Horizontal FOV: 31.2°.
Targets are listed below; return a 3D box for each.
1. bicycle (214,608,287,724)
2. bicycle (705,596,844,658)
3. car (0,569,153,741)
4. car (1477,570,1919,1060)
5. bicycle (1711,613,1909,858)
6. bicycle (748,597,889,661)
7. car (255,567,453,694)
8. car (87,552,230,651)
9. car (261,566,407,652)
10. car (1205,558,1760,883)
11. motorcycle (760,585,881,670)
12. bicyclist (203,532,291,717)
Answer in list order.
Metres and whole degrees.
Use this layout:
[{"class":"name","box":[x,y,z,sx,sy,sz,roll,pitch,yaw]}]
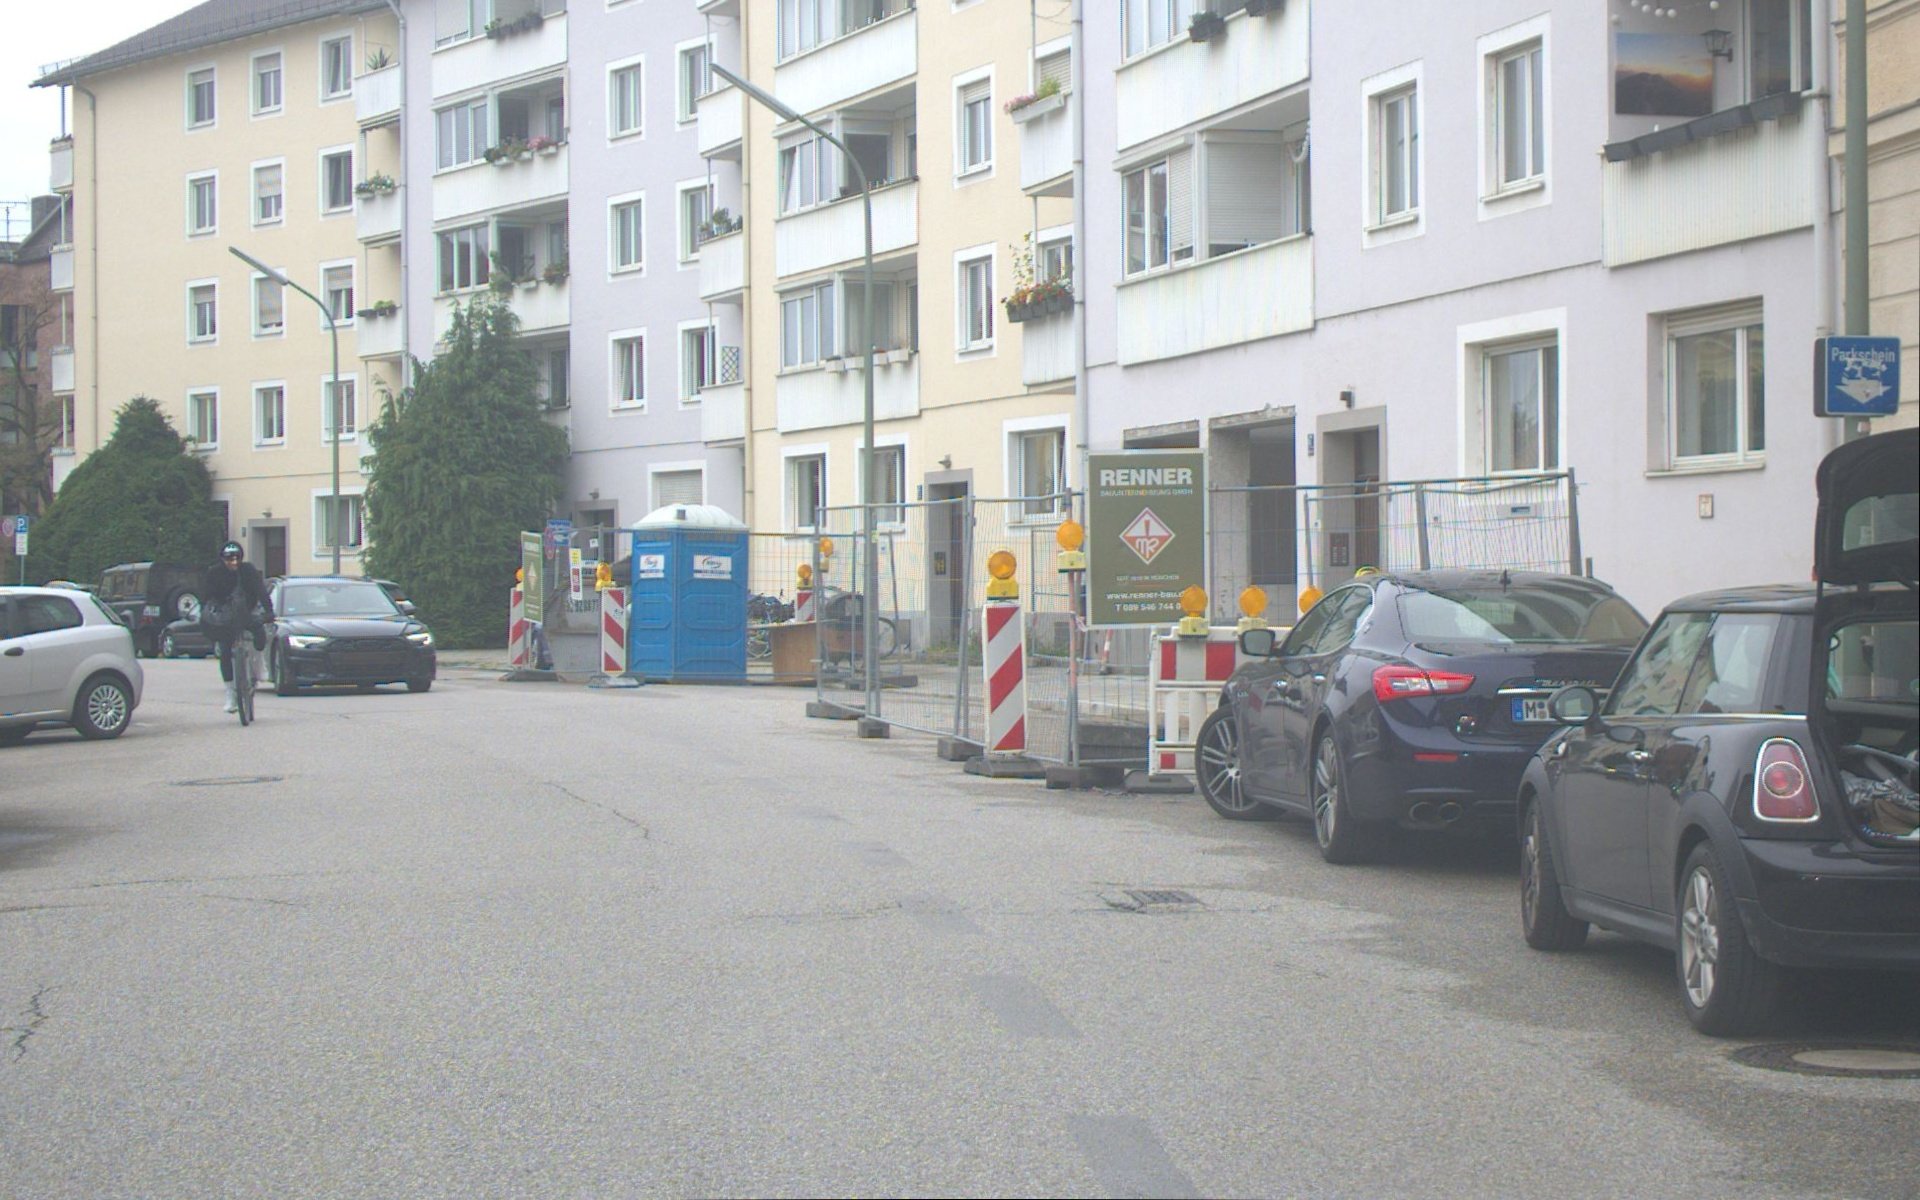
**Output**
[{"class":"bicycle","box":[-7.027,0.636,34.003,0.585,1.066,1.937,-3,1,-14]},{"class":"bicycle","box":[-3.243,0.466,60.055,2.232,1.066,0.920,0,0,-23]},{"class":"car","box":[-9.516,0.558,31.478,1.713,1.502,3.801,-2,1,41]},{"class":"car","box":[2.986,0.626,12.007,1.630,1.412,3.680,1,1,-3]},{"class":"bicycle","box":[4.590,0.707,18.672,0.636,1.254,1.671,0,0,-1]},{"class":"bicycle","box":[-2.422,0.487,58.745,2.232,1.066,0.920,0,0,-23]},{"class":"car","box":[-7.620,0.364,42.924,1.919,1.407,4.705,-3,1,-16]},{"class":"car","box":[-16.915,0.028,72.423,1.781,1.970,3.720,-2,1,-32]},{"class":"car","box":[-11.822,0.146,64.752,1.830,1.568,4.001,0,0,-24]},{"class":"car","box":[2.610,0.532,18.443,1.908,1.472,4.947,1,1,-4]},{"class":"motorcycle","box":[-2.073,0.387,50.718,0.931,1.217,2.508,0,0,-24]},{"class":"bicyclist","box":[-7.046,0.230,33.975,0.744,1.765,0.815,-3,1,-13]}]
